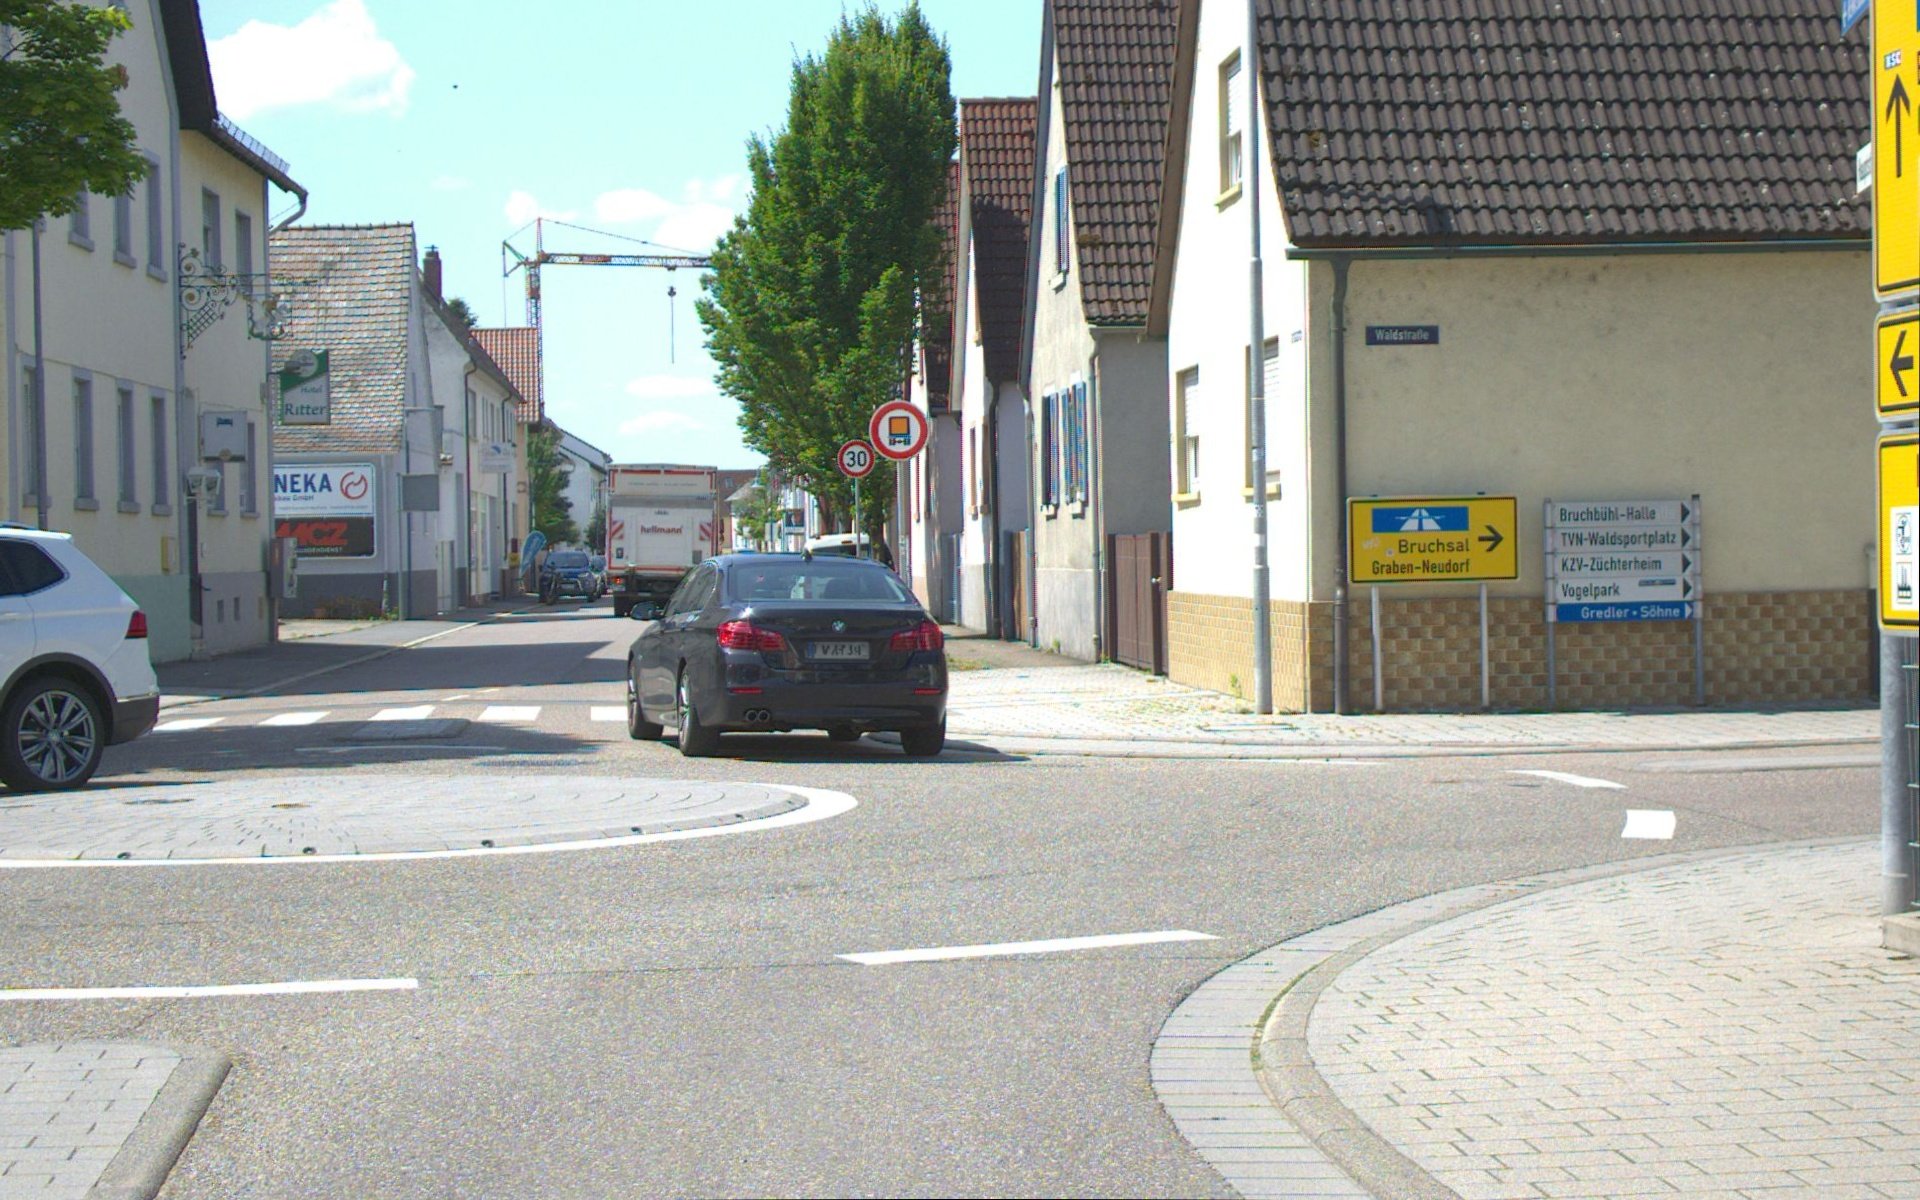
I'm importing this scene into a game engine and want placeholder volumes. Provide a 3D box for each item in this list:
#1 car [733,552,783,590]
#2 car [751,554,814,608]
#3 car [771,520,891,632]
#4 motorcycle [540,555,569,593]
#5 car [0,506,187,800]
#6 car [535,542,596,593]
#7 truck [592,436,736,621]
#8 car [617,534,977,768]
[{"bbox_3d":[-7.308,-1.056,124.167,1.719,1.350,4.157,0,1,-4],"label":"car"},{"bbox_3d":[-4.939,-0.543,95.950,1.719,1.456,4.157,0,1,-3],"label":"car"},{"bbox_3d":[-2.259,-0.431,59.244,1.719,1.784,4.145,-2,1,-6],"label":"car"},{"bbox_3d":[-12.483,-0.797,105.862,0.846,1.166,2.470,1,0,-6],"label":"motorcycle"},{"bbox_3d":[-6.928,0.339,19.945,1.870,1.704,4.532,0,1,40],"label":"car"},{"bbox_3d":[-12.588,-1.041,109.774,1.809,1.583,4.001,0,1,-5],"label":"car"},{"bbox_3d":[-7.129,-1.678,84.035,3.144,4.236,9.303,1,0,-3],"label":"truck"},{"bbox_3d":[-1.312,0.303,25.504,1.901,1.558,4.478,-1,1,-13],"label":"car"}]
